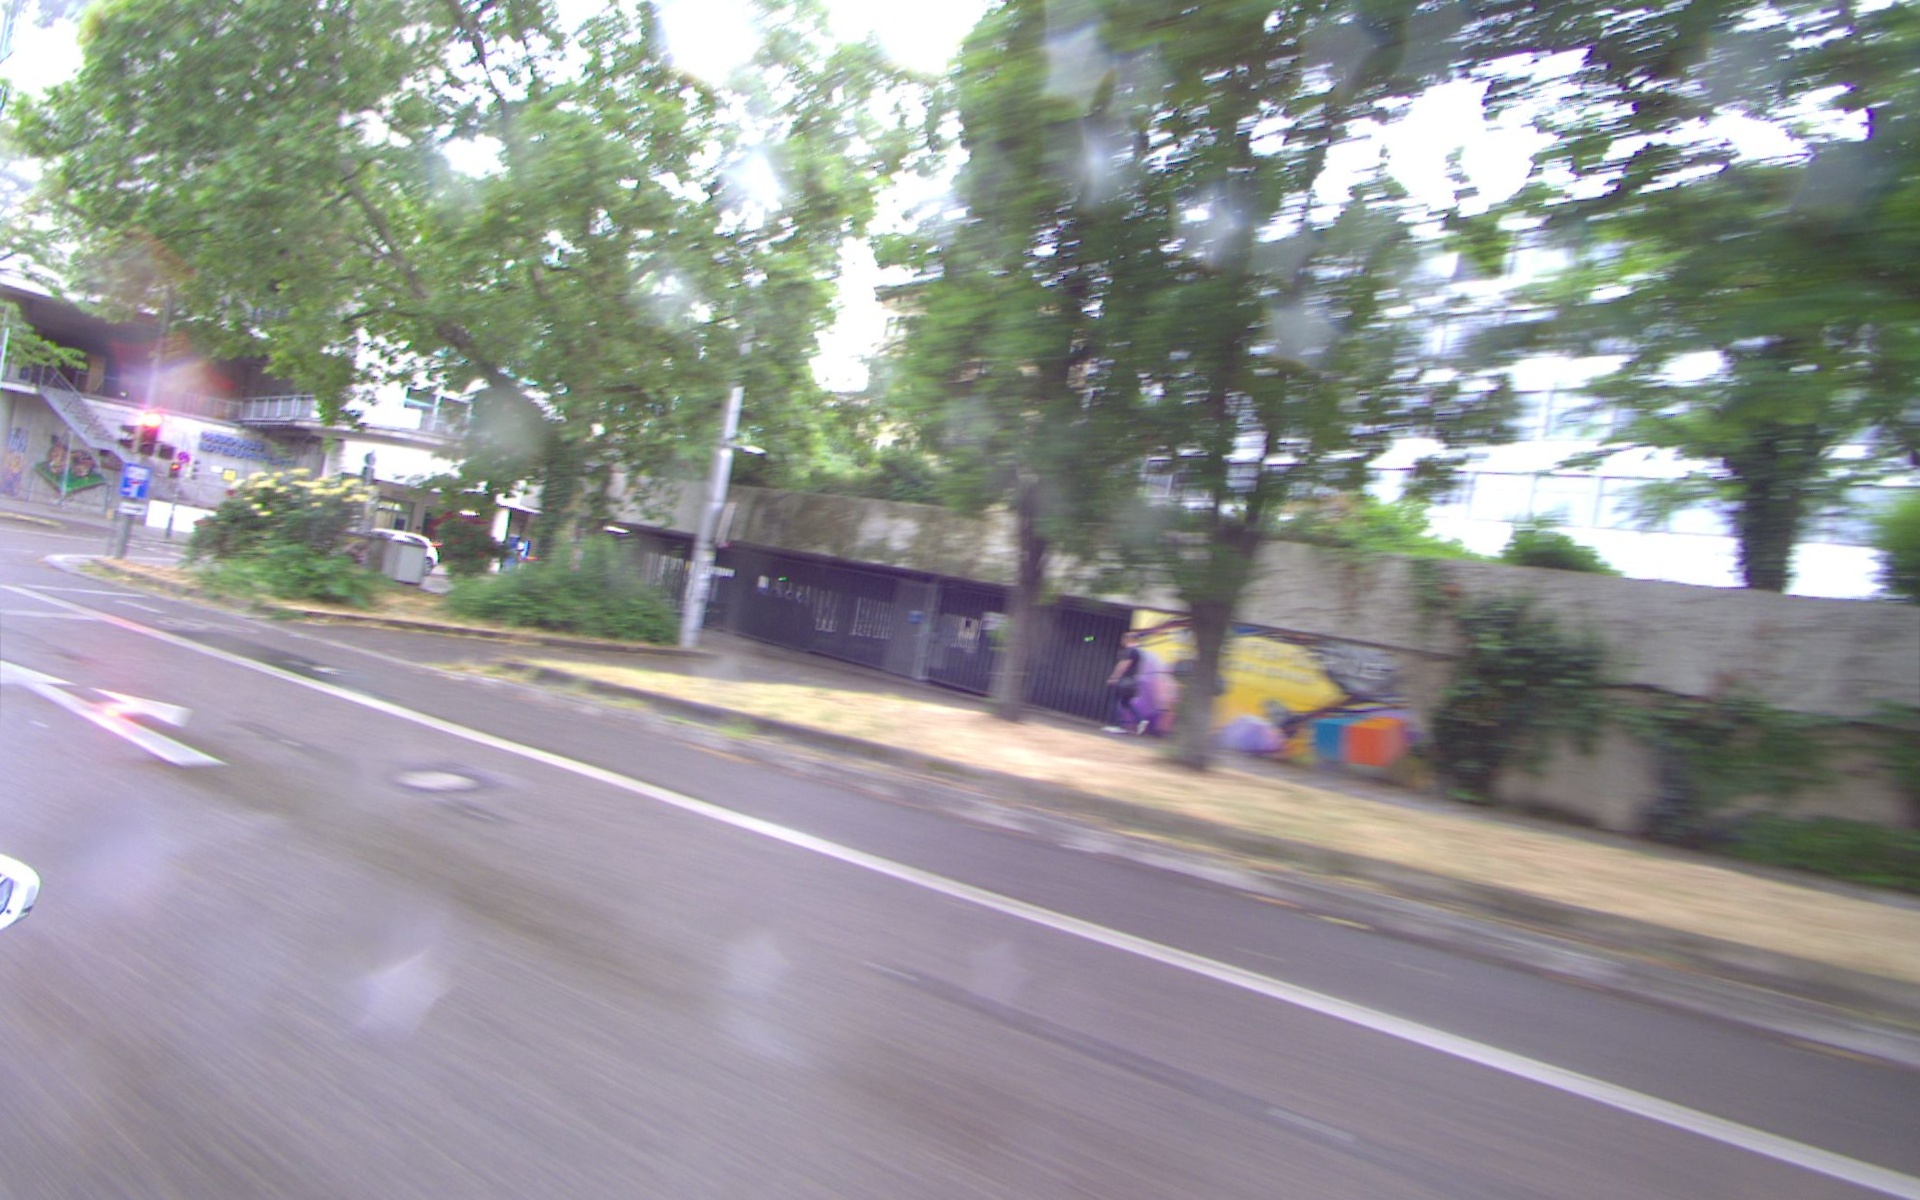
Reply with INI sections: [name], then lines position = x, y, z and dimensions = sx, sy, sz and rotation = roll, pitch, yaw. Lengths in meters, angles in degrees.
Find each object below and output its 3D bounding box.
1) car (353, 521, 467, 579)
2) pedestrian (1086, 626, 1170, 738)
[car]
position = -22.693, -2.018, 41.707
dimensions = 1.718, 1.702, 4.364
rotation = 9, -2, 7
[pedestrian]
position = 3.078, 1.512, 18.468
dimensions = 1.041, 1.887, 0.806
rotation = 8, 0, 41
